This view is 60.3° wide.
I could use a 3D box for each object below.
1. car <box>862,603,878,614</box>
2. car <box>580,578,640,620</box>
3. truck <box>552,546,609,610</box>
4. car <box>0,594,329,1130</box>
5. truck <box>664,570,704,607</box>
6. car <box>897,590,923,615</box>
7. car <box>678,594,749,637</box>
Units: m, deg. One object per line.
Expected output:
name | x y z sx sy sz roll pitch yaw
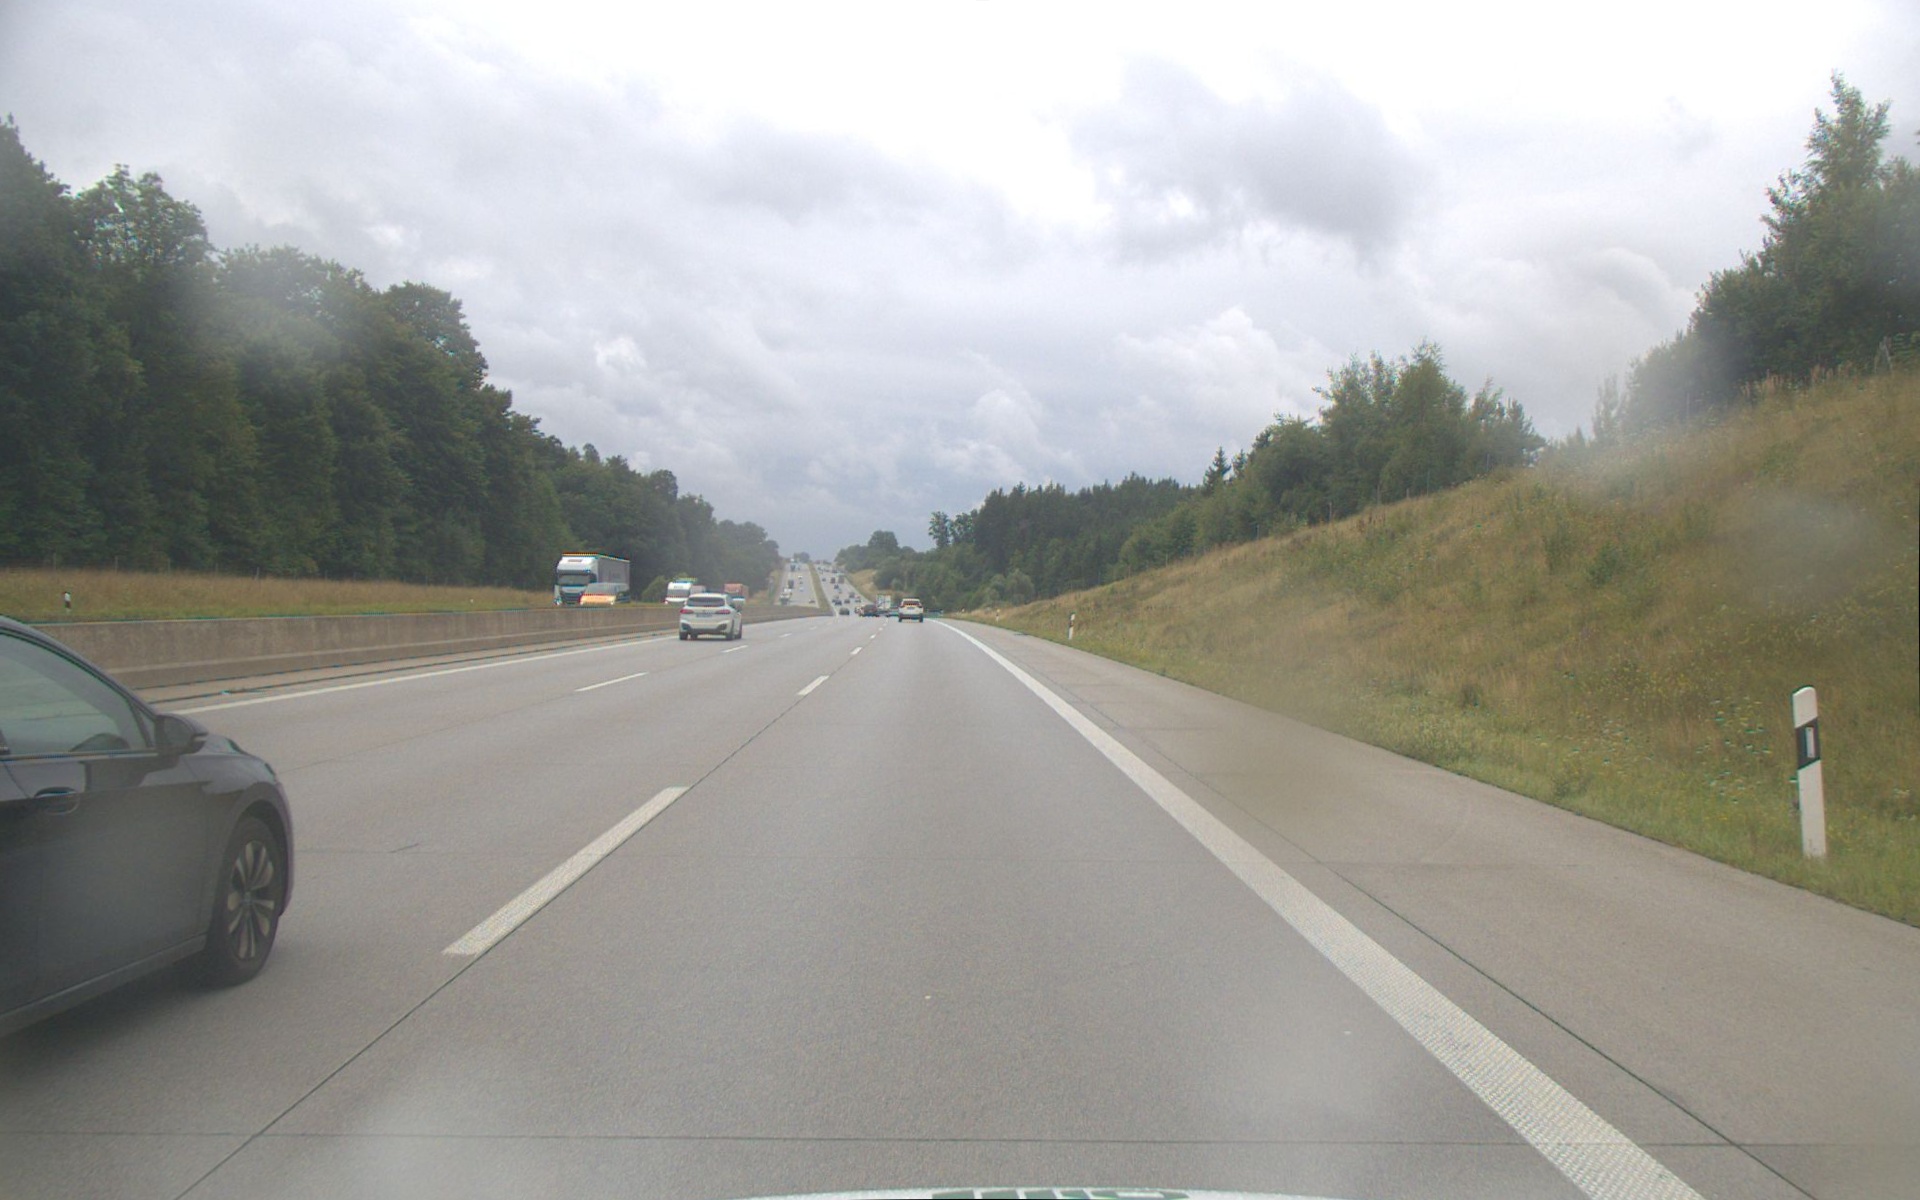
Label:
car | -12.086 1.172 221.619 1.897 1.399 4.590 1 0 -5
car | -17.931 -0.046 84.945 2.020 2.049 5.425 1 0 -1
truck | -25.821 -1.474 112.788 2.458 4.198 6.459 1 0 -2
car | -3.452 0.709 4.481 1.716 1.422 4.484 2 0 0
truck | -22.346 -0.897 134.038 2.222 2.836 6.510 2 0 -1
car | -3.661 0.174 121.009 1.789 1.684 3.983 2 0 -2
car | -8.351 0.520 56.305 1.908 1.379 4.257 1 0 -2
